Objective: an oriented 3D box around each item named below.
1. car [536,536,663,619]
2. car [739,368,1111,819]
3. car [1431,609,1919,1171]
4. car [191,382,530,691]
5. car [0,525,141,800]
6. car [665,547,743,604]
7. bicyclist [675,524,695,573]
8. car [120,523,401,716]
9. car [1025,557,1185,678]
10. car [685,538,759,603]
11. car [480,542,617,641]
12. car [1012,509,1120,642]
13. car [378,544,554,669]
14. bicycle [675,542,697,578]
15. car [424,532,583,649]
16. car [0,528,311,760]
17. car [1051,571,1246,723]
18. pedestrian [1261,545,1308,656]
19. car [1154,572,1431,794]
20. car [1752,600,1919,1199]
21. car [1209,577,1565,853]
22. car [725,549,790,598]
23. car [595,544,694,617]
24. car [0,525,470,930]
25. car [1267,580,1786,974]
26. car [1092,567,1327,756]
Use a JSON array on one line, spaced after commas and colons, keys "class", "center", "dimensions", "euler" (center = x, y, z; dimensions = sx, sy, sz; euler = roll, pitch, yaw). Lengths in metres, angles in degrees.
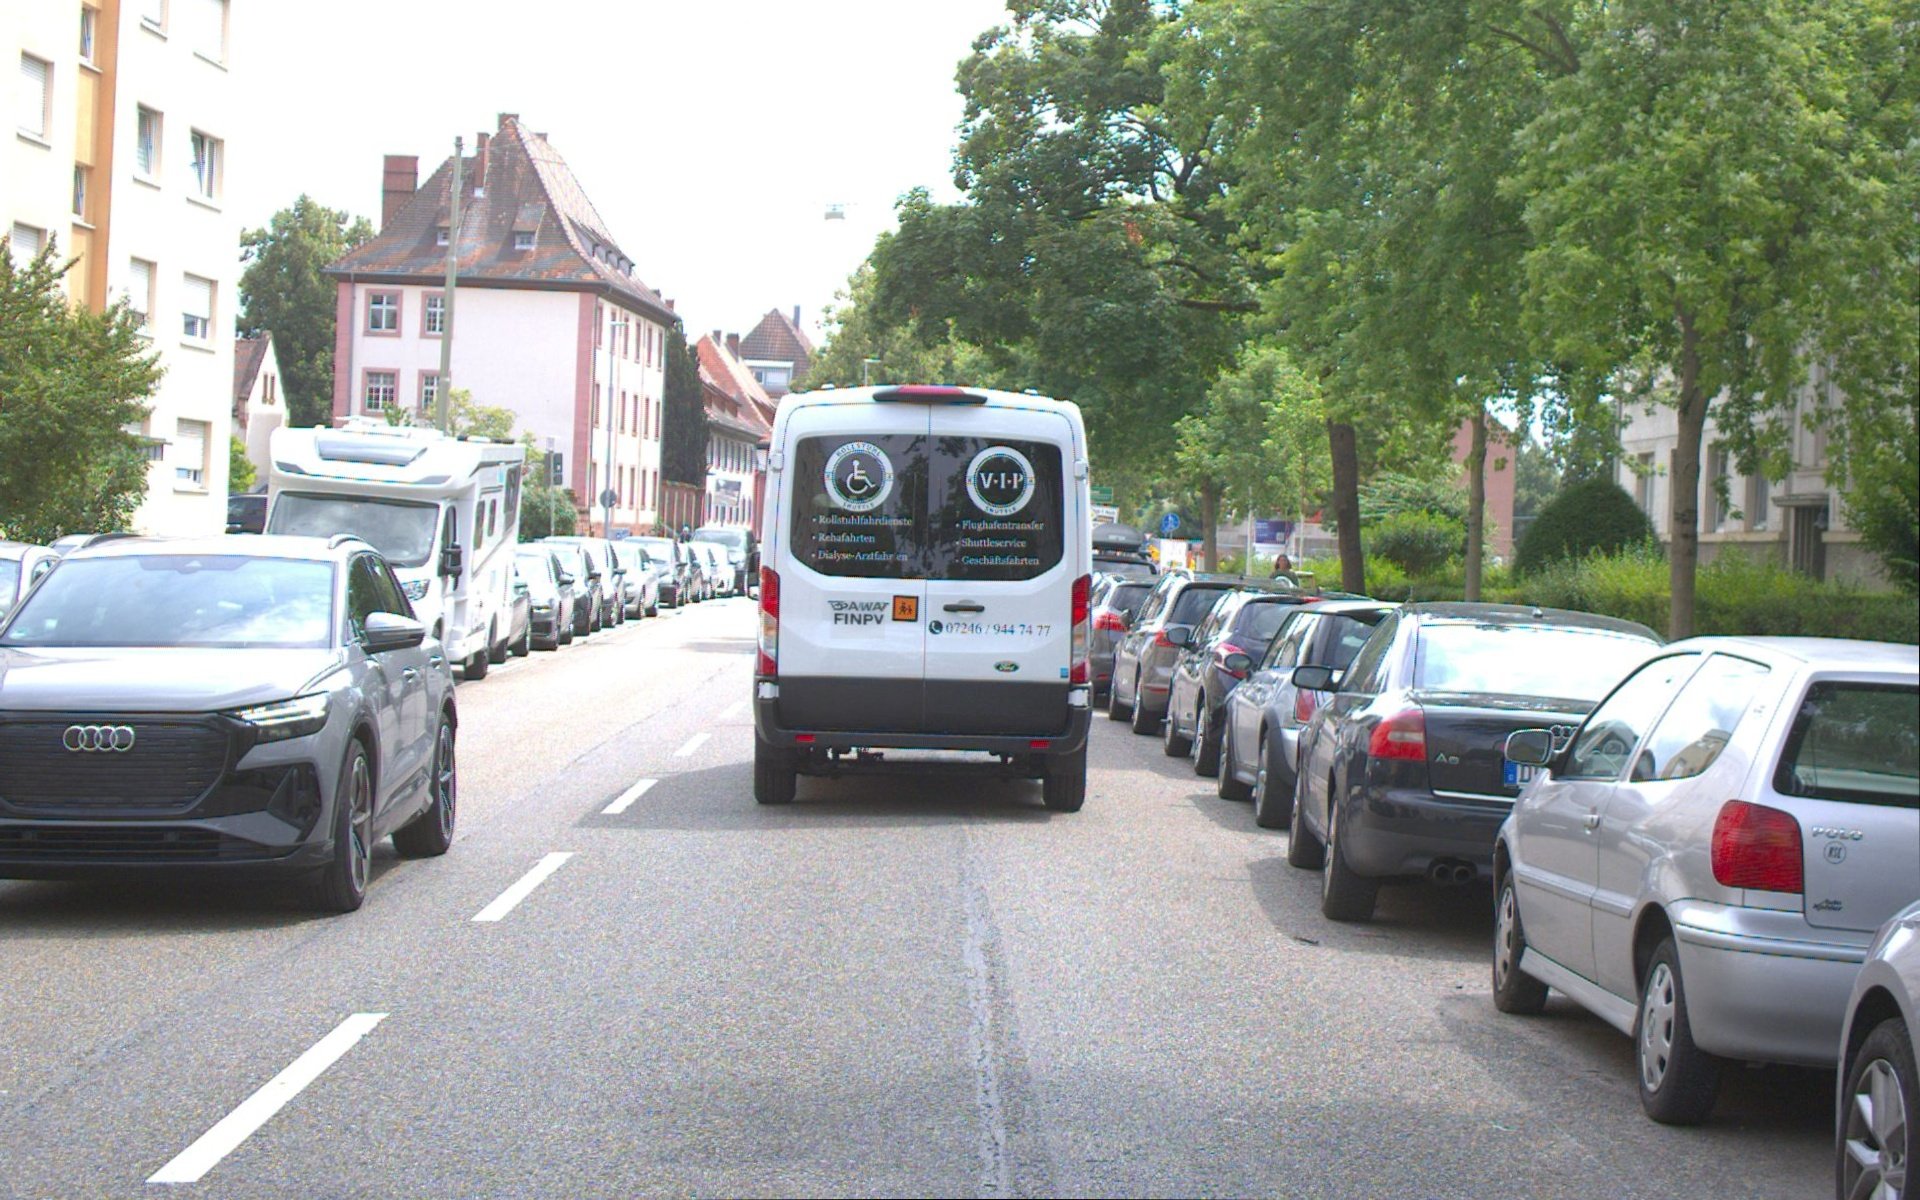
[{"class": "car", "center": [-7.187, -0.464, 68.946], "dimensions": [1.886, 1.483, 4.633], "euler": [3, 1, 1]}, {"class": "car", "center": [-0.293, -0.051, 21.904], "dimensions": [2.070, 2.532, 4.635], "euler": [1, 0, -2]}, {"class": "car", "center": [2.715, 0.816, 11.102], "dimensions": [1.670, 1.396, 3.852], "euler": [4, 1, -1]}, {"class": "car", "center": [-6.582, -0.698, 38.793], "dimensions": [2.510, 3.014, 7.397], "euler": [3, 1, -1]}, {"class": "car", "center": [-6.462, 0.314, 21.647], "dimensions": [1.722, 1.534, 4.005], "euler": [2, 2, -2]}, {"class": "car", "center": [-7.187, -0.703, 96.814], "dimensions": [1.786, 1.477, 3.861], "euler": [3, 1, 0]}, {"class": "bicyclist", "center": [-9.102, -1.704, 113.722], "dimensions": [0.536, 1.580, 0.691], "euler": [1, 1, 3]}, {"class": "car", "center": [-6.437, 0.140, 32.083], "dimensions": [1.688, 1.574, 4.594], "euler": [3, 1, -1]}, {"class": "car", "center": [2.212, 0.232, 54.002], "dimensions": [1.927, 1.655, 5.325], "euler": [5, 1, -3]}, {"class": "car", "center": [-7.058, -0.884, 102.170], "dimensions": [1.786, 1.820, 3.974], "euler": [3, 1, 0]}, {"class": "car", "center": [-6.855, -0.169, 57.650], "dimensions": [1.741, 1.491, 4.786], "euler": [3, 1, -1]}, {"class": "car", "center": [2.203, -0.525, 72.703], "dimensions": [1.897, 2.578, 4.829], "euler": [5, 1, 0]}, {"class": "car", "center": [-6.529, 0.049, 45.854], "dimensions": [1.688, 1.491, 4.594], "euler": [3, 1, -1]}, {"class": "bicycle", "center": [-9.095, -1.313, 114.053], "dimensions": [0.541, 1.171, 1.349], "euler": [1, 1, 3]}, {"class": "car", "center": [-6.818, -0.179, 51.824], "dimensions": [1.885, 1.574, 5.220], "euler": [3, 1, -3]}, {"class": "car", "center": [-6.435, 0.279, 26.910], "dimensions": [1.755, 1.574, 4.568], "euler": [3, 1, 0]}, {"class": "car", "center": [2.033, 0.479, 38.177], "dimensions": [1.617, 1.464, 4.392], "euler": [3, 1, -3]}, {"class": "pedestrian", "center": [5.411, 0.011, 57.285], "dimensions": [0.522, 1.822, 0.524], "euler": [1, 1, -38]}, {"class": "car", "center": [2.524, 0.585, 26.928], "dimensions": [1.659, 1.464, 3.890], "euler": [1, 2, -1]}, {"class": "car", "center": [2.808, 0.816, 5.731], "dimensions": [1.697, 1.464, 4.718], "euler": [3, 1, -1]}, {"class": "car", "center": [2.621, 0.656, 21.880], "dimensions": [1.659, 1.464, 3.726], "euler": [2, 2, -1]}, {"class": "car", "center": [-6.601, -0.872, 112.469], "dimensions": [1.786, 1.477, 3.861], "euler": [3, 1, 0]}, {"class": "car", "center": [-7.185, -0.460, 78.607], "dimensions": [1.786, 1.538, 3.861], "euler": [3, 1, 0]}, {"class": "car", "center": [-3.445, 0.471, 15.845], "dimensions": [1.818, 1.580, 4.436], "euler": [1, 1, -1]}, {"class": "car", "center": [2.503, 0.704, 16.255], "dimensions": [1.780, 1.464, 4.614], "euler": [4, 1, 2]}, {"class": "car", "center": [2.346, 0.539, 33.344], "dimensions": [1.659, 1.577, 4.286], "euler": [5, 1, -3]}]
